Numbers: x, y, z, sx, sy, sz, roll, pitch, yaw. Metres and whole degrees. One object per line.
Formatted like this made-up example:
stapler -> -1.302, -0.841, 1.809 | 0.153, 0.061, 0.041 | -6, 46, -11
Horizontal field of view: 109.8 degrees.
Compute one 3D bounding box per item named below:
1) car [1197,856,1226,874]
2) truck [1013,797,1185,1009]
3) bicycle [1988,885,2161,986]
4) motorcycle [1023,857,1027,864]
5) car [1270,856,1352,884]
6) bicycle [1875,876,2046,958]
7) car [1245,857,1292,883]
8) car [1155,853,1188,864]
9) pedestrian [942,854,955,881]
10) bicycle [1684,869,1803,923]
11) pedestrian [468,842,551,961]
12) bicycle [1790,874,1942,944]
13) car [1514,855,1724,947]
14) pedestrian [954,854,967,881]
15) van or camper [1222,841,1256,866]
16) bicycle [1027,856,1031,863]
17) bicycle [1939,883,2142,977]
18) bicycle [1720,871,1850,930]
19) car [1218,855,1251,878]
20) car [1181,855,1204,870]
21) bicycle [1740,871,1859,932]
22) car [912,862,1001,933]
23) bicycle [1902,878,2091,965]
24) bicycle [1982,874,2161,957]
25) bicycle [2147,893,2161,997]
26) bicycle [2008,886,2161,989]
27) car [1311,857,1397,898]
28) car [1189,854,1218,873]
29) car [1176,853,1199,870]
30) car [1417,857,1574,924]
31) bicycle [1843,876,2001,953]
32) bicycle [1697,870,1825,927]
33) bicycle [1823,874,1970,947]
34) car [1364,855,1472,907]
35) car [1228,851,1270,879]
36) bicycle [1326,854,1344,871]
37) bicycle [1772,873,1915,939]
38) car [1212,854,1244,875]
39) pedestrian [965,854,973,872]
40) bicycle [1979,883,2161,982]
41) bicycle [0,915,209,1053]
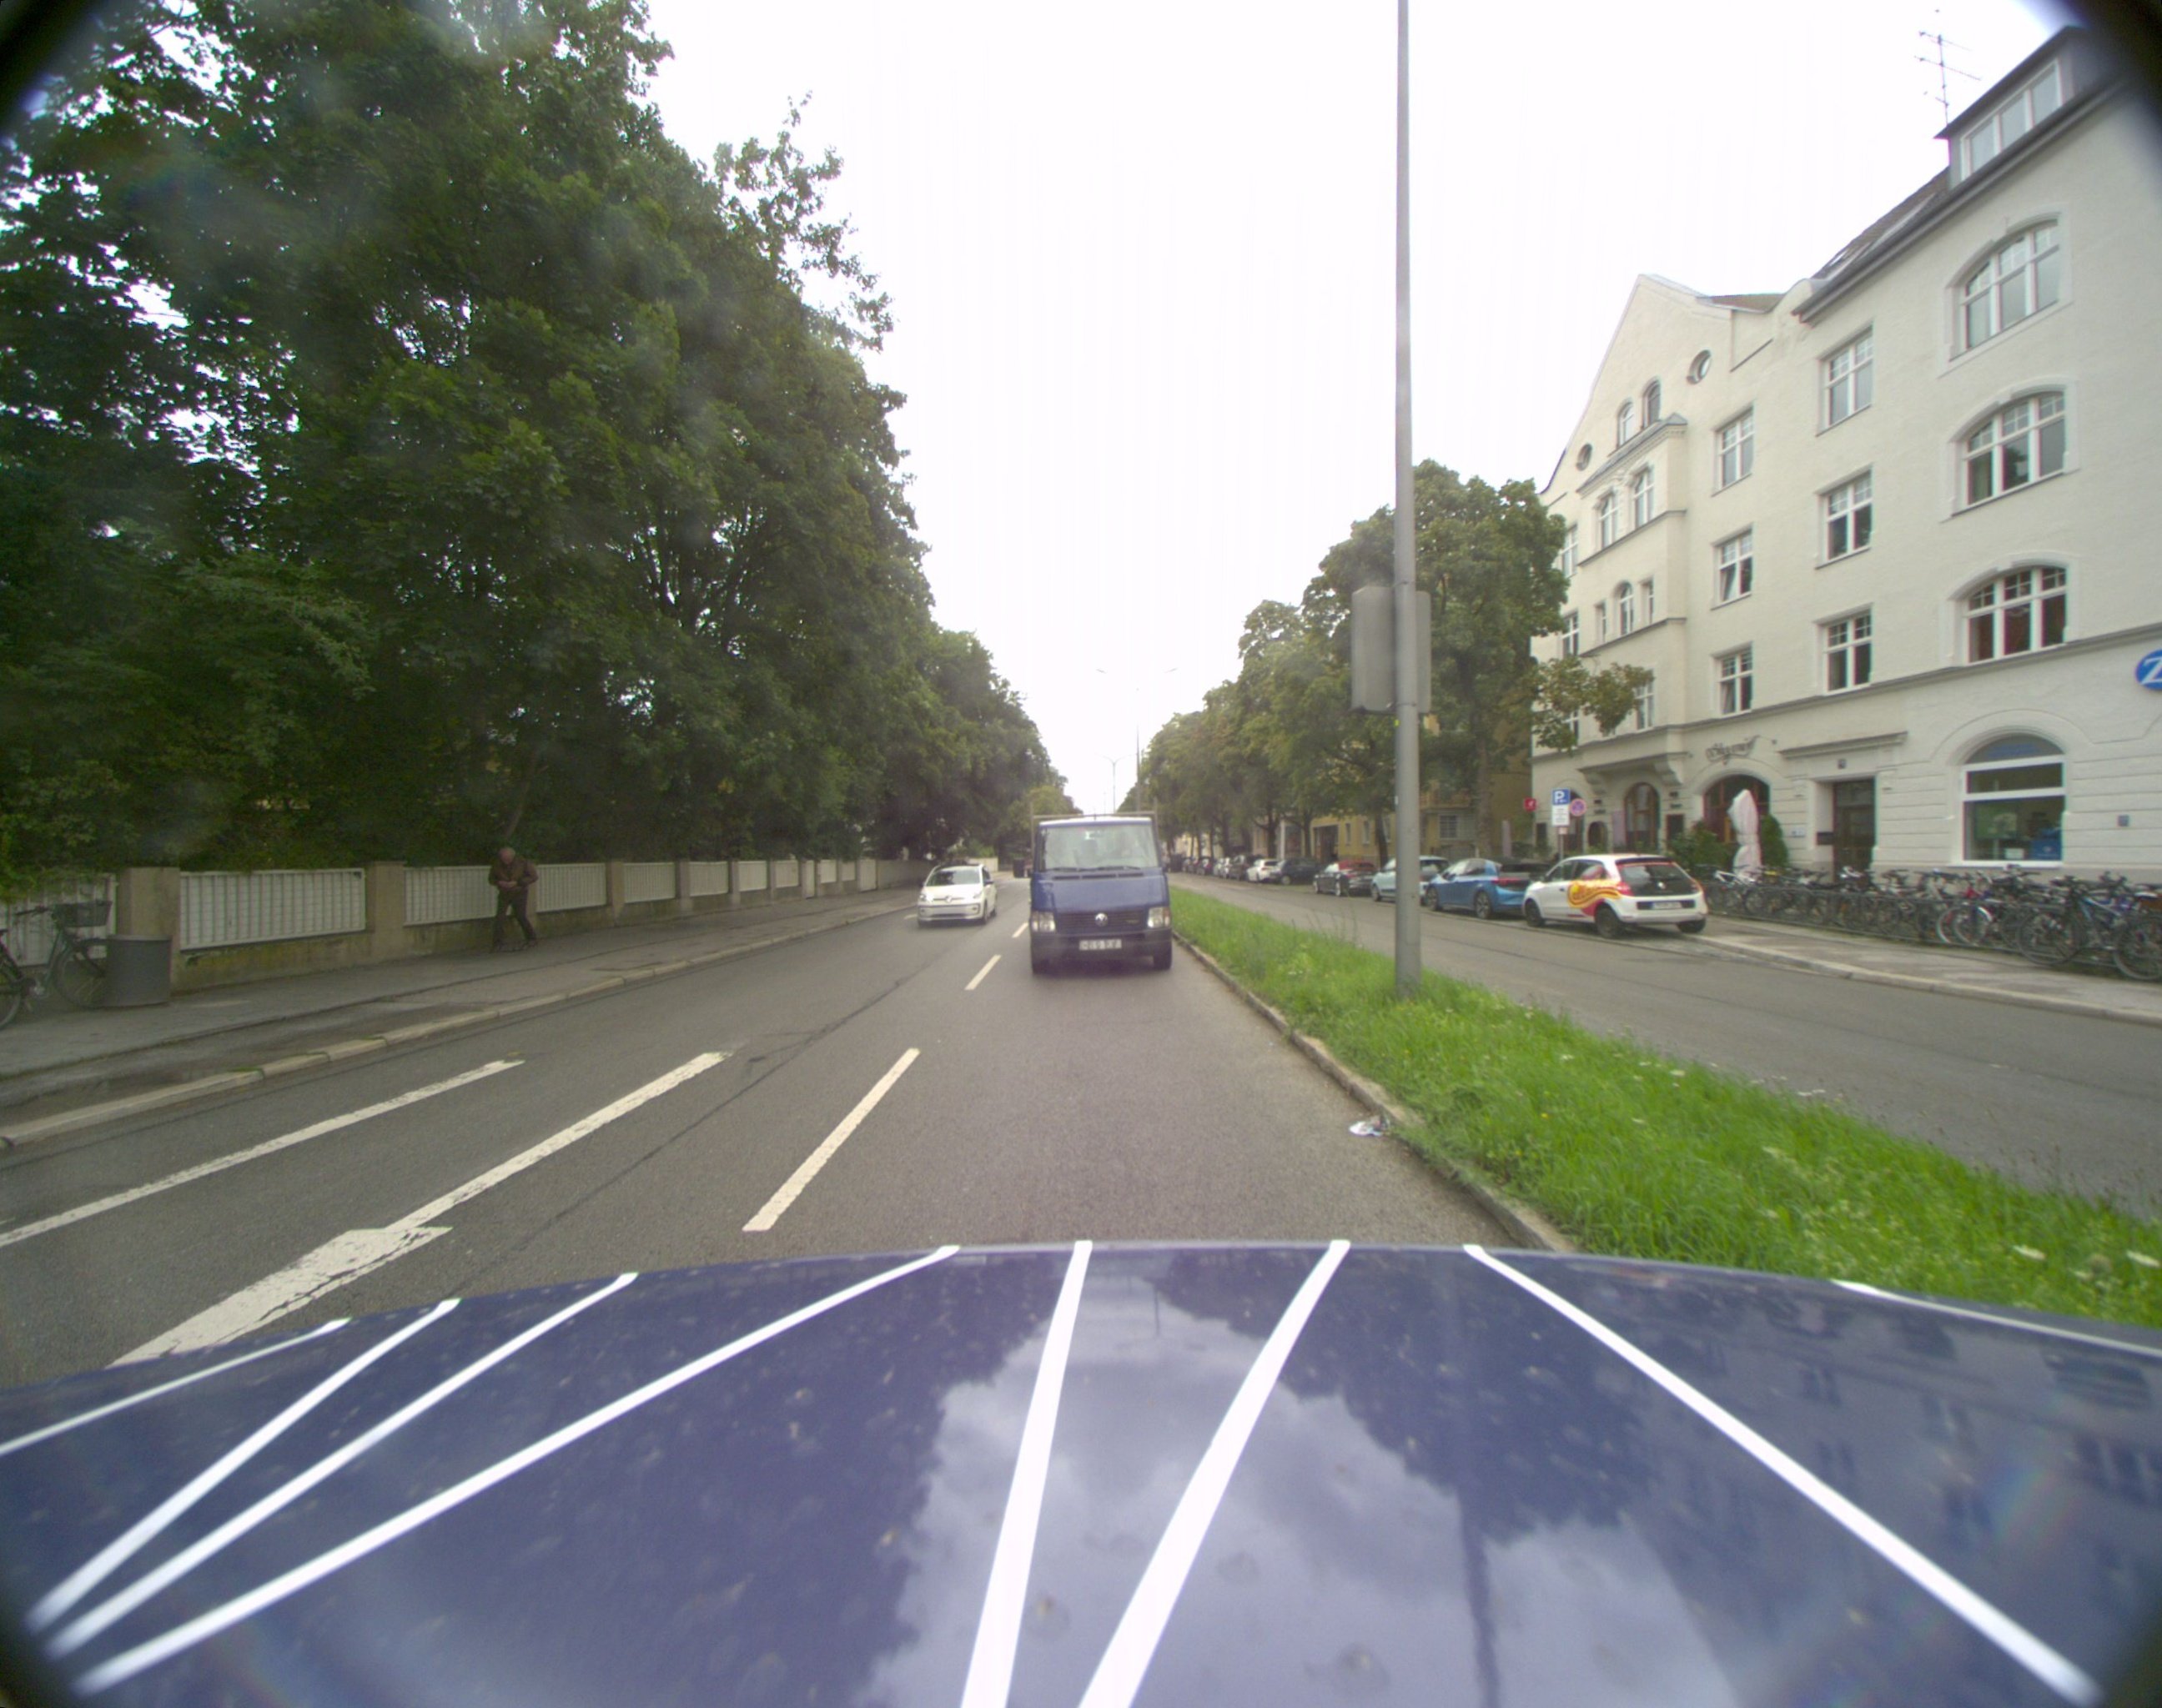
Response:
car -> 10.933, 0.925, 63.989 | 1.731, 1.398, 4.363 | -1, 0, 1
truck -> 0.249, 0.573, 11.543 | 1.998, 2.475, 5.151 | -1, 0, 1
bicycle -> 12.357, 0.962, 9.238 | 0.331, 1.109, 1.678 | -1, 0, -23
motorcycle -> -8.914, 0.981, 121.513 | 0.497, 1.135, 1.631 | -1, 0, -10
car -> 12.479, 0.876, 41.381 | 3.899, 1.455, 1.732 | 0, 0, -1
bicycle -> 13.224, 0.914, 11.492 | 0.331, 1.109, 1.678 | -1, 0, -23
car -> 10.956, 0.917, 44.722 | 1.731, 1.394, 4.404 | -1, 0, 1
car -> 11.960, 0.652, 100.572 | 3.990, 1.367, 1.865 | -1, -1, 26
pedestrian -> -8.339, 0.853, 47.969 | 0.668, 1.695, 0.766 | 1, 1, 0
bicycle -> 14.710, 0.892, 16.934 | 0.460, 1.109, 1.961 | -1, 0, -31
pedestrian -> -9.606, 0.777, 12.794 | 0.779, 1.931, 0.802 | 0, 1, 1
bicycle -> 13.820, 0.931, 13.452 | 0.331, 1.109, 1.871 | -1, 0, -23
car -> 10.552, 0.829, 15.281 | 1.653, 1.576, 3.790 | -1, 0, 2
pedestrian -> -7.617, 0.832, 47.940 | 0.668, 1.683, 0.729 | 1, 1, 0
van or camper -> 17.344, -0.060, 83.640 | 2.351, 2.564, 6.851 | -1, 0, 1
bicycle -> -8.820, 0.887, 129.058 | 0.490, 1.092, 1.631 | -1, 0, -10
bicycle -> 12.841, 0.974, 10.244 | 0.331, 1.109, 1.678 | -1, 0, -23
bicycle -> 14.376, 0.919, 15.583 | 0.550, 1.109, 1.877 | -1, 0, -31
car -> 11.082, 0.871, 54.940 | 1.731, 1.548, 3.009 | -1, 0, -1
car -> 11.102, 0.841, 75.703 | 1.696, 1.446, 4.492 | -1, 0, 1
bicycle -> 14.094, 0.901, 14.961 | 0.331, 1.109, 1.677 | -1, 0, -27
car -> -3.047, 1.012, 19.231 | 1.647, 1.553, 3.586 | -1, 0, 0
bicycle -> 12.987, 0.916, 10.848 | 0.383, 1.109, 1.678 | -1, 0, -23
bicycle -> 14.769, 0.872, 11.346 | 0.331, 1.109, 1.678 | -1, 0, -23
bicycle -> 12.096, 0.980, 7.571 | 0.331, 1.109, 1.678 | -1, 0, -23
bicycle -> 12.105, 0.956, 8.818 | 0.368, 1.109, 1.678 | -1, 0, -23
car -> 10.811, 0.879, 30.490 | 1.815, 1.498, 4.645 | -1, 0, 1
car -> 11.218, 0.823, 69.727 | 1.883, 1.636, 4.770 | -1, 0, 1
car -> 11.300, 0.801, 80.890 | 1.878, 1.677, 4.438 | -1, 0, 1
car -> 10.685, 0.871, 19.987 | 1.815, 1.498, 4.291 | -1, 0, 1
bicycle -> 13.436, 0.929, 12.204 | 0.331, 1.109, 1.678 | -1, 0, -23
bicycle -> 14.542, 0.922, 16.320 | 0.505, 1.109, 1.984 | -1, 0, -31
bicycle -> 13.649, 0.905, 12.778 | 0.331, 1.109, 1.678 | -1, 0, -23
car -> 10.871, 0.814, 24.832 | 1.815, 1.498, 3.960 | -1, 0, 1
car -> 11.090, 0.689, 50.440 | 1.815, 1.718, 4.767 | -1, 0, 1
bicycle -> 19.331, 0.647, 57.870 | 0.771, 1.215, 1.931 | -1, 0, 0
bicycle -> 14.007, 0.916, 14.031 | 0.331, 1.109, 1.871 | -1, 0, -23
car -> 11.353, 0.805, 58.903 | 1.731, 1.552, 4.057 | -1, 0, 1
pedestrian -> -9.433, 0.759, 64.095 | 0.529, 1.572, 0.729 | 1, 1, 0
bicycle -> 12.651, 0.953, 9.581 | 0.367, 1.109, 1.678 | -1, 0, -23
bicycle -> -9.848, 1.216, 7.278 | 0.624, 1.084, 2.026 | -1, 0, 0
